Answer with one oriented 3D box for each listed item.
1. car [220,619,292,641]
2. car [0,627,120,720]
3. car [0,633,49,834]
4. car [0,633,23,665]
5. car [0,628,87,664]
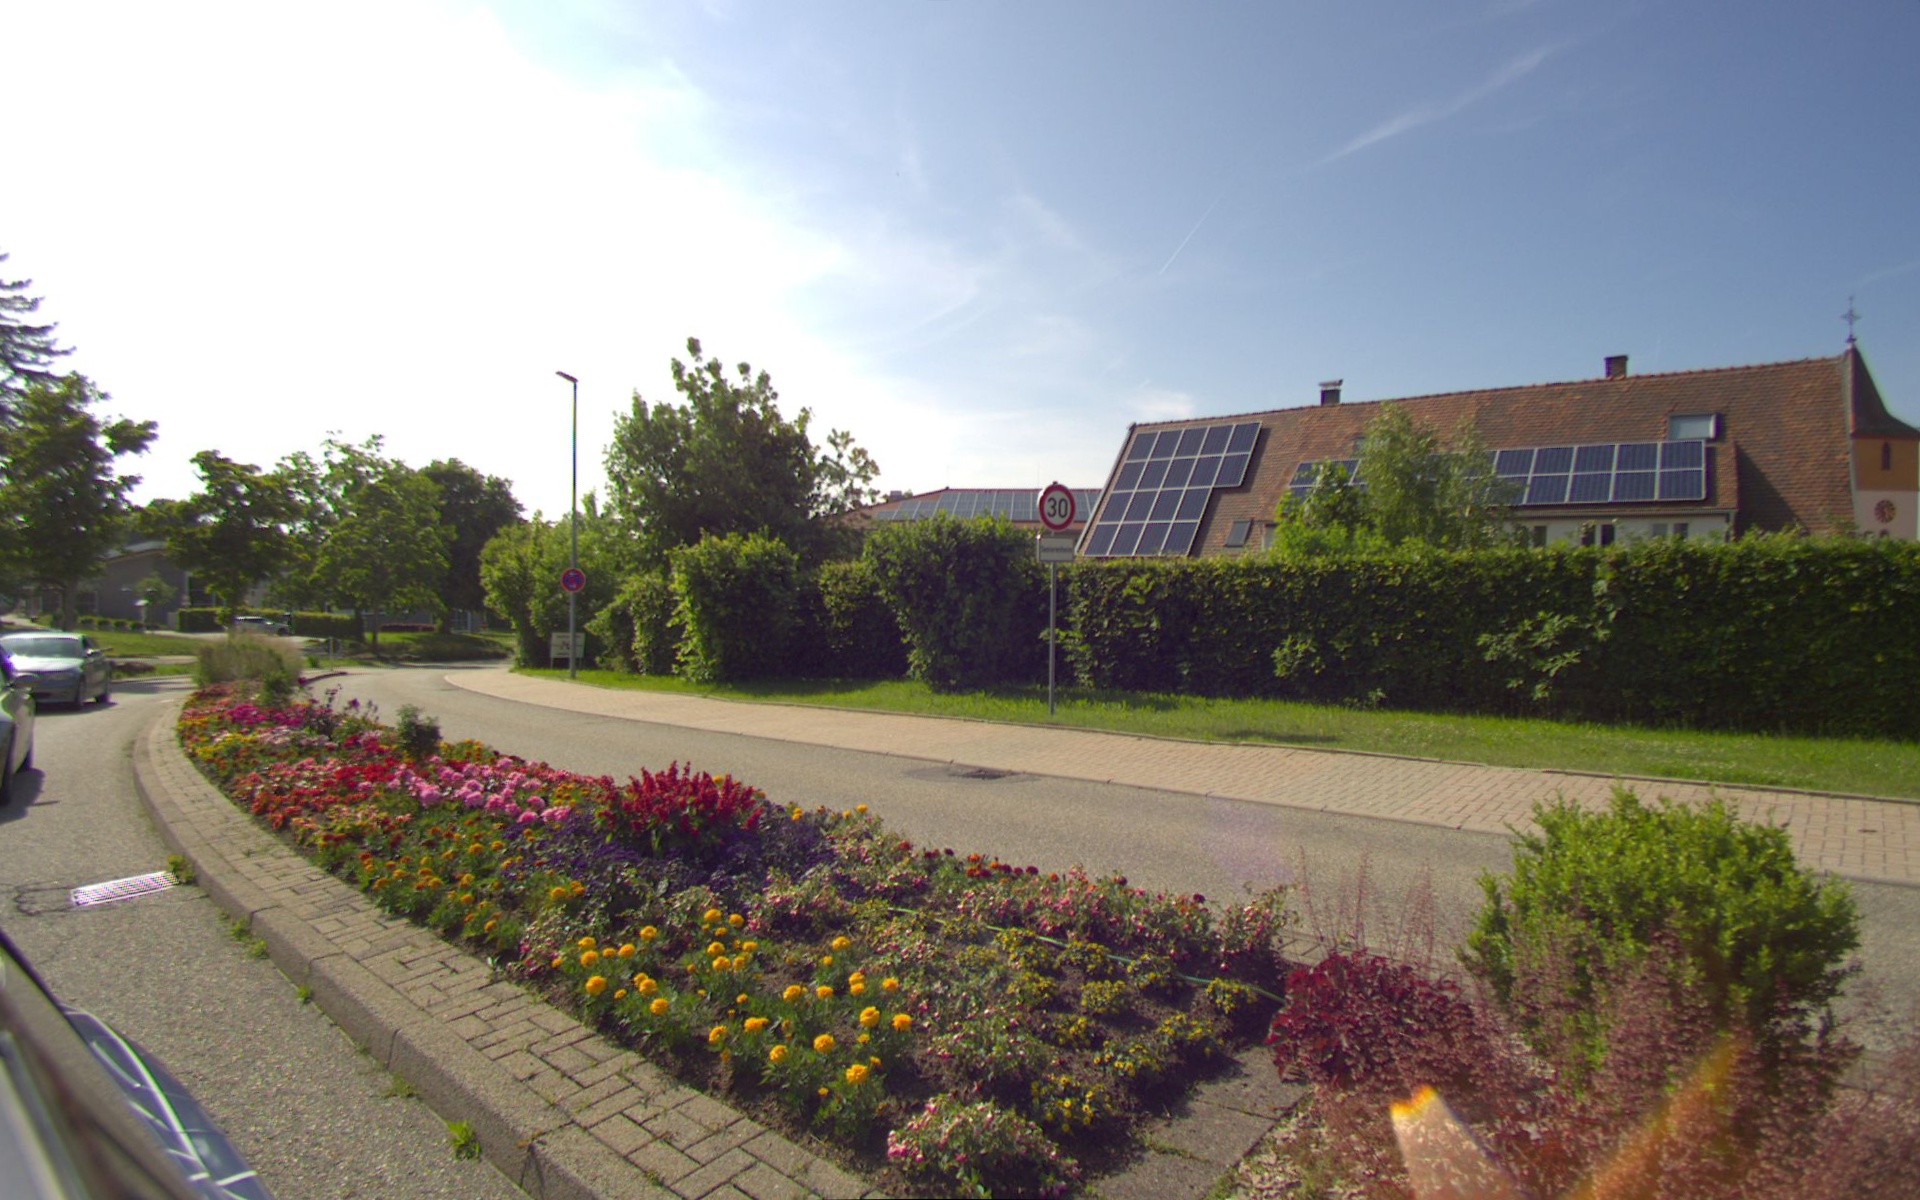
[{"bbox_3d":[-56.769,2.442,81.675,1.785,1.527,4.329,1,-4,27],"label":"car"},{"bbox_3d":[-17.282,1.314,18.872,1.872,1.519,4.011,5,-4,-32],"label":"car"},{"bbox_3d":[-8.865,0.968,8.349,1.811,1.378,4.588,3,-3,-40],"label":"car"},{"bbox_3d":[-45.580,2.163,46.411,3.489,1.438,1.686,3,-3,-1],"label":"car"},{"bbox_3d":[-46.575,2.269,50.623,3.943,1.630,2.000,3,-3,-1],"label":"car"}]
